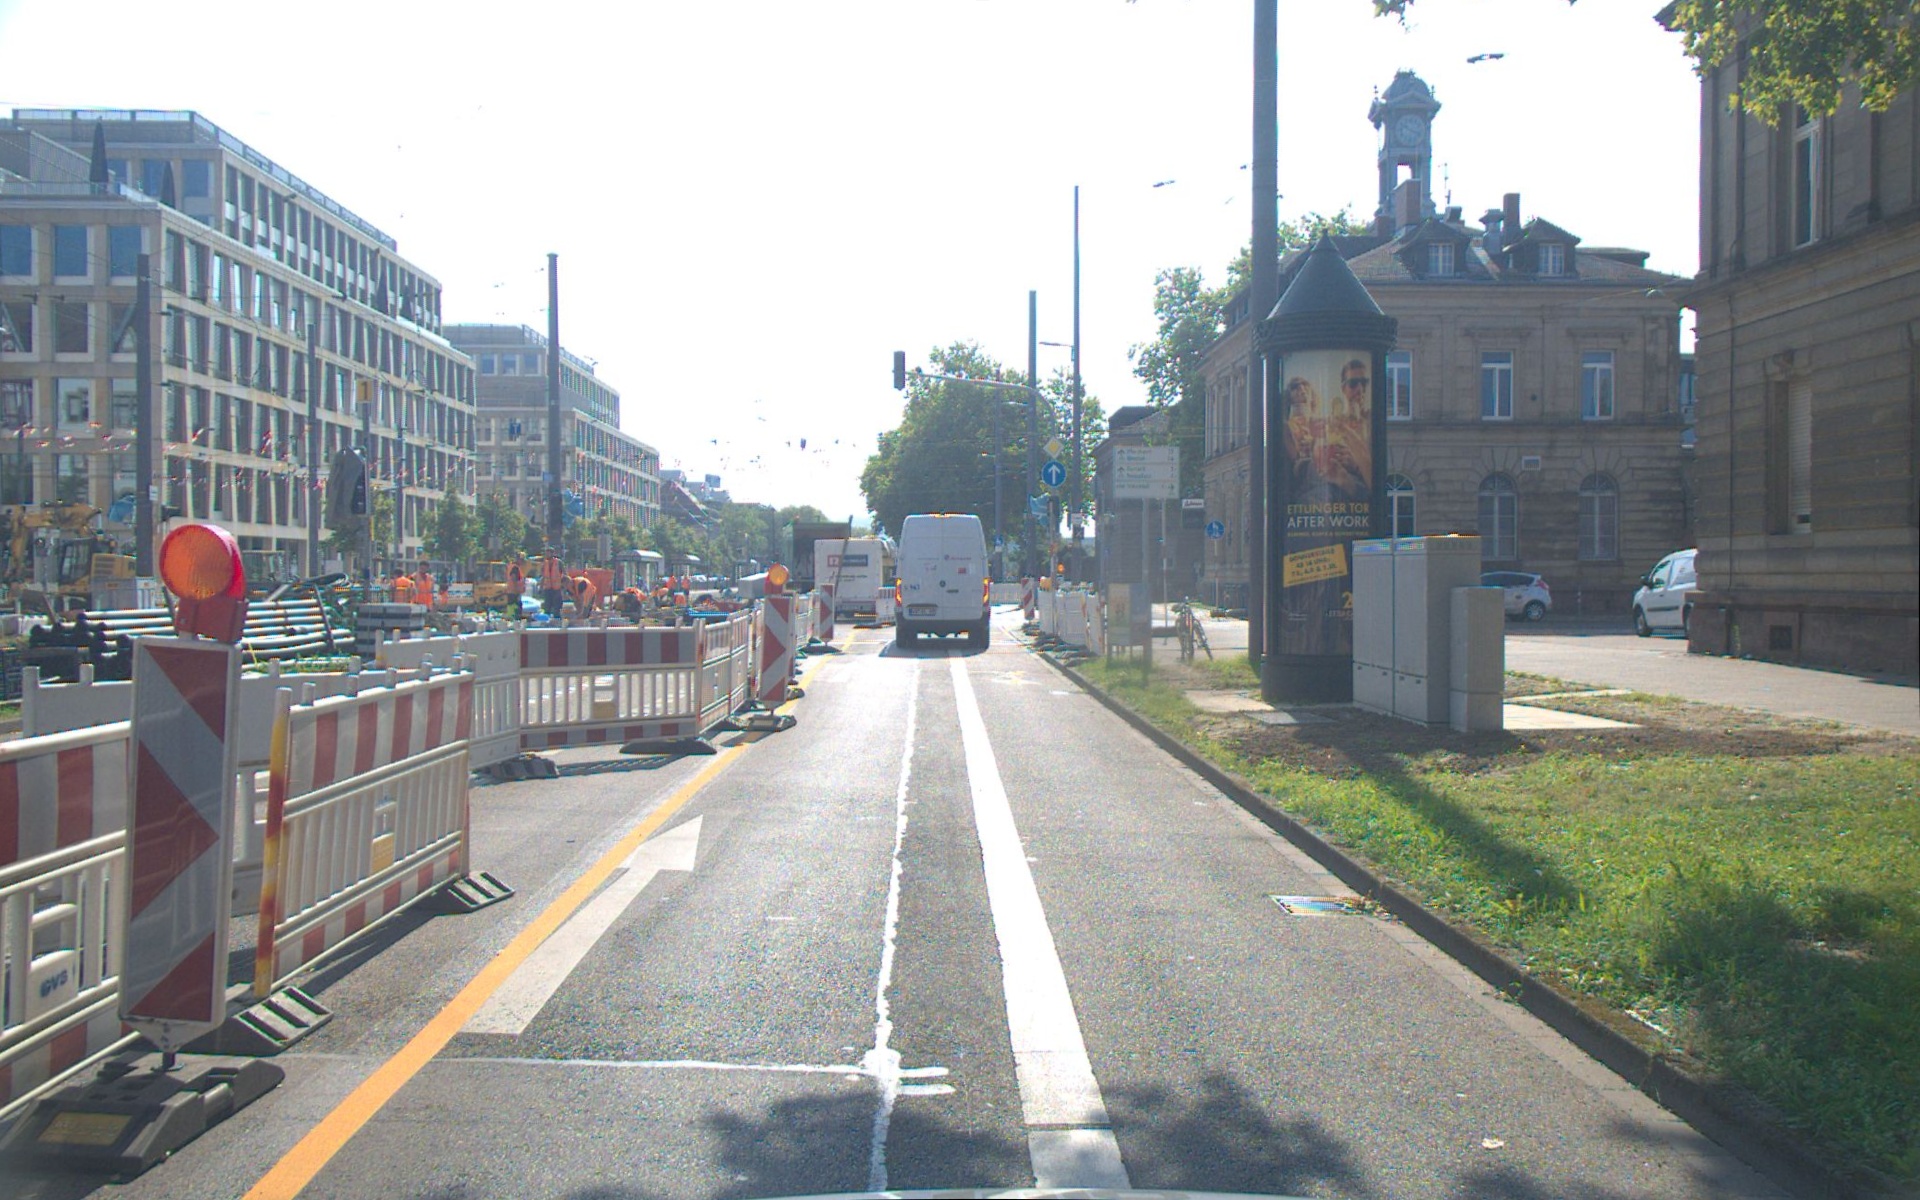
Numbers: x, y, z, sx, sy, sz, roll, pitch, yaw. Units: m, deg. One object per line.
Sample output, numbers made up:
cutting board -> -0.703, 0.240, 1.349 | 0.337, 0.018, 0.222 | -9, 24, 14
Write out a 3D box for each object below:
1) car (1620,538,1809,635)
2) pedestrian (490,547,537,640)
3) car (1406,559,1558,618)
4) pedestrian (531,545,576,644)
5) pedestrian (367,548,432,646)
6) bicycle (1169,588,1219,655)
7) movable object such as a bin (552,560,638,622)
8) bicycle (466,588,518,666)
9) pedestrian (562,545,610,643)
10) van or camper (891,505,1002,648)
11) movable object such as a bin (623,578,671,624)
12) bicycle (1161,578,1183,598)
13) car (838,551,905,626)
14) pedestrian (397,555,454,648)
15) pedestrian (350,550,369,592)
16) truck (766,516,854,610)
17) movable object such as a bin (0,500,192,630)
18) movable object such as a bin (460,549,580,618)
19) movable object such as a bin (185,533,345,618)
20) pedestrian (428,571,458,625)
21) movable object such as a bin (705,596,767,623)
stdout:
car -> 15.408, -0.288, 34.042 | 1.865, 1.814, 4.224 | -2, 1, -1
pedestrian -> -9.301, -0.131, 34.454 | 0.704, 1.903, 0.709 | -1, 0, 7
car -> 15.218, -0.341, 48.375 | 3.915, 1.563, 1.666 | -2, 0, 4
pedestrian -> -8.541, -0.121, 34.723 | 0.690, 2.050, 0.665 | -1, 0, -38
pedestrian -> -10.778, -0.065, 31.826 | 0.810, 1.848, 0.885 | -1, 0, 13
bicycle -> 3.763, 0.335, 26.695 | 0.527, 1.024, 1.571 | -2, 0, -1
movable object such as a bin -> -9.803, -0.242, 44.573 | 1.567, 1.586, 3.286 | -1, 1, 0
bicycle -> -7.045, 0.395, 24.948 | 0.552, 1.118, 1.962 | 1, 0, -11
pedestrian -> -7.593, -0.126, 33.564 | 0.707, 1.960, 0.675 | -1, 0, -38
van or camper -> -0.376, -0.521, 35.271 | 2.073, 2.728, 5.248 | -3, 1, -3
movable object such as a bin -> -8.510, 0.016, 45.012 | 0.868, 1.232, 2.212 | -1, 0, 0
bicycle -> 12.109, -0.689, 94.622 | 0.484, 1.017, 1.808 | -1, 3, -20
car -> -3.028, -0.401, 58.232 | 2.163, 2.466, 7.197 | -1, 0, -2
pedestrian -> -10.777, 0.032, 33.349 | 0.741, 1.841, 0.825 | -1, 0, 44
pedestrian -> -26.996, -1.307, 74.392 | 0.744, 1.897, 0.804 | 0, 0, -25
truck -> -6.918, -1.676, 75.119 | 2.745, 3.980, 8.390 | 1, 1, -13
movable object such as a bin -> -32.598, -1.155, 59.815 | 7.200, 4.423, 4.973 | -1, -1, 12
movable object such as a bin -> -20.593, -0.735, 78.039 | 3.540, 3.009, 8.474 | 1, 0, -1
movable object such as a bin -> -24.548, -0.872, 58.467 | 4.769, 2.884, 2.415 | -1, 0, -39
pedestrian -> -18.553, -0.072, 59.367 | 0.769, 1.946, 0.723 | -1, 0, 7
movable object such as a bin -> -6.314, 0.265, 46.607 | 1.687, 0.726, 0.716 | 0, 0, 32
